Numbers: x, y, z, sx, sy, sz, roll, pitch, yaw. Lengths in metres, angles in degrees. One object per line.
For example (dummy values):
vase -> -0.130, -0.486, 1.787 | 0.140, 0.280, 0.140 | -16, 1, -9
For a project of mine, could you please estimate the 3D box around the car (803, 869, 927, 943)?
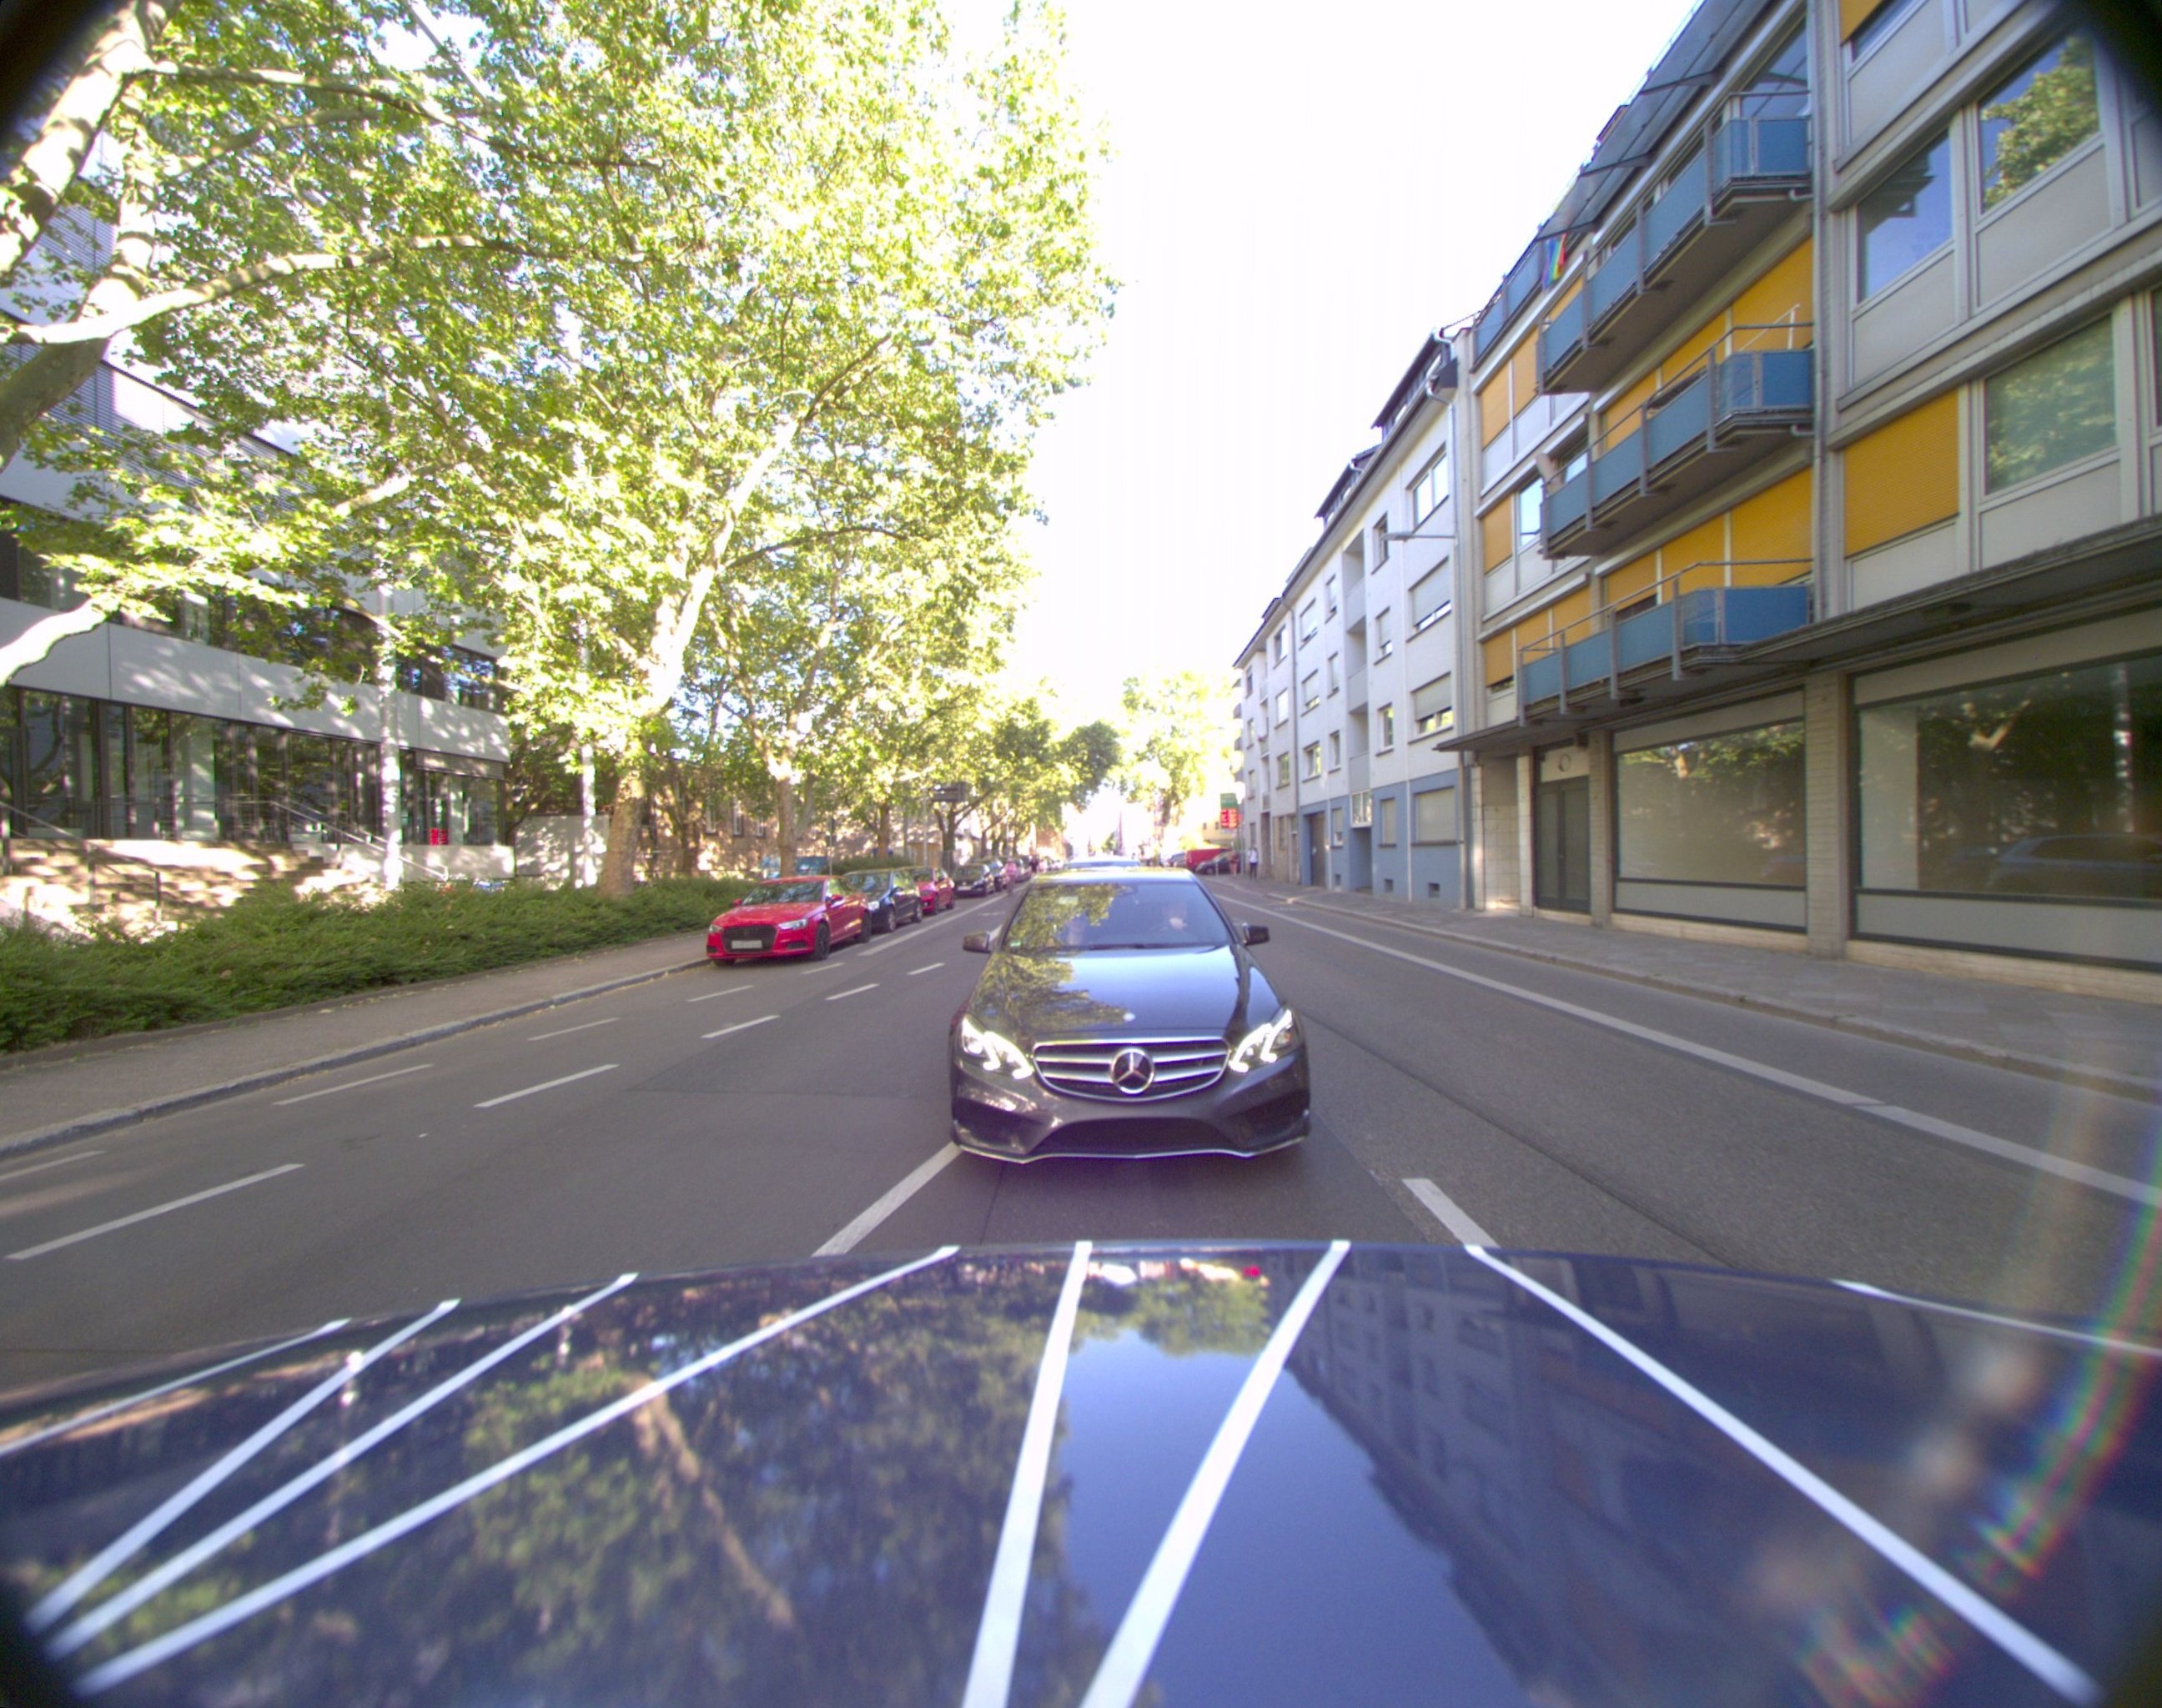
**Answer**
car -> -5.083, 1.174, 18.452 | 1.755, 1.424, 3.909 | -3, 0, 1

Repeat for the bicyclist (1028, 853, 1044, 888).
bicyclist -> -1.864, 0.691, 31.624 | 0.581, 1.424, 0.741 | -2, 1, 1

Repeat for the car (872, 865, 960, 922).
car -> -5.033, 1.148, 23.664 | 1.755, 1.459, 3.909 | -3, 0, 1

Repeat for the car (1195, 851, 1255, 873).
car -> 10.358, 0.561, 54.790 | 3.997, 1.412, 1.743 | -2, 0, 1

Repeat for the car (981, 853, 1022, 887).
car -> -4.552, 0.872, 44.071 | 1.755, 1.810, 4.447 | -3, 0, 1

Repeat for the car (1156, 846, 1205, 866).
car -> 11.191, 0.199, 85.530 | 5.143, 2.135, 2.187 | -2, 0, 1

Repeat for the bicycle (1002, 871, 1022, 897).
bicycle -> -2.897, 1.256, 32.215 | 0.650, 1.053, 1.595 | -2, 0, 1

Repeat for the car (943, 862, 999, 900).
car -> -4.748, 1.119, 33.302 | 1.755, 1.424, 3.909 | -3, 0, 1

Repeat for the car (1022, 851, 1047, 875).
car -> -3.995, 0.729, 66.398 | 1.755, 1.941, 4.447 | -3, 0, 1

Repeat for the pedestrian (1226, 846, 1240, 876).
pedestrian -> 8.607, 0.386, 43.047 | 0.604, 1.632, 0.842 | -2, 1, 1

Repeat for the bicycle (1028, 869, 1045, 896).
bicycle -> -1.846, 1.165, 31.806 | 0.574, 1.053, 1.595 | -2, 0, 1

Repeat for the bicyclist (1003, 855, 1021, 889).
bicyclist -> -2.911, 0.752, 32.256 | 0.650, 1.427, 0.741 | -2, 1, 1

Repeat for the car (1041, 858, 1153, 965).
car -> 0.272, 0.887, 13.618 | 1.667, 1.563, 4.000 | -1, 0, 1

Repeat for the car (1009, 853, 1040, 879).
car -> -4.101, 0.822, 55.764 | 1.755, 1.753, 4.447 | -3, 0, 1

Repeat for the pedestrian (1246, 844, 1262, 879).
pedestrian -> 8.782, 0.387, 38.588 | 0.608, 1.737, 0.756 | -2, 1, 1

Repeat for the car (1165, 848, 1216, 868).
car -> 11.288, 0.370, 78.728 | 4.991, 1.926, 2.083 | -2, 0, 1

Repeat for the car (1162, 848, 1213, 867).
car -> 11.324, 0.345, 81.193 | 5.042, 1.926, 2.315 | -2, 0, 1

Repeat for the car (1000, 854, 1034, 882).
car -> -4.271, 0.881, 50.953 | 1.755, 1.718, 4.447 | -3, 0, 1

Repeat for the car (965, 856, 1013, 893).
car -> -4.561, 0.977, 38.272 | 1.755, 1.644, 4.174 | -3, 0, 1

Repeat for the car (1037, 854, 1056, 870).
car -> -3.775, 0.869, 83.523 | 1.755, 1.652, 4.447 | -3, 0, 1

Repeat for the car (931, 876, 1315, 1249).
car -> 0.213, 0.985, 5.366 | 1.667, 1.499, 4.000 | -1, 0, 1

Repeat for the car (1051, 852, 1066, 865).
car -> -3.014, 0.648, 103.212 | 1.755, 1.652, 4.447 | -3, 0, 1

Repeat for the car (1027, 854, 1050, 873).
car -> -4.001, 0.903, 72.184 | 1.755, 1.652, 4.447 | -3, 0, 1

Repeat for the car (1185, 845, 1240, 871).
car -> 10.333, 0.299, 60.089 | 3.997, 1.926, 1.867 | -2, 0, 1

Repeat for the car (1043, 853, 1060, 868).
car -> -3.646, 0.772, 93.013 | 1.755, 1.652, 4.447 | -3, 0, 1

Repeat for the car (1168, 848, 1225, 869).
car -> 11.101, 0.441, 73.530 | 5.143, 1.926, 2.187 | -2, 0, 1

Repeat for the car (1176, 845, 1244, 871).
car -> 10.638, 0.292, 63.114 | 5.223, 1.969, 2.257 | -2, 0, 1

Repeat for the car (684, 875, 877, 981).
car -> -5.123, 1.184, 13.606 | 1.755, 1.400, 4.000 | -3, 0, 1

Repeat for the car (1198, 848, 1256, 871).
car -> 10.914, 0.390, 57.000 | 3.997, 1.552, 1.743 | -2, 0, 1

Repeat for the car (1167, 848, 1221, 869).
car -> 11.273, 0.402, 76.230 | 5.054, 1.926, 2.161 | -2, 0, 1
